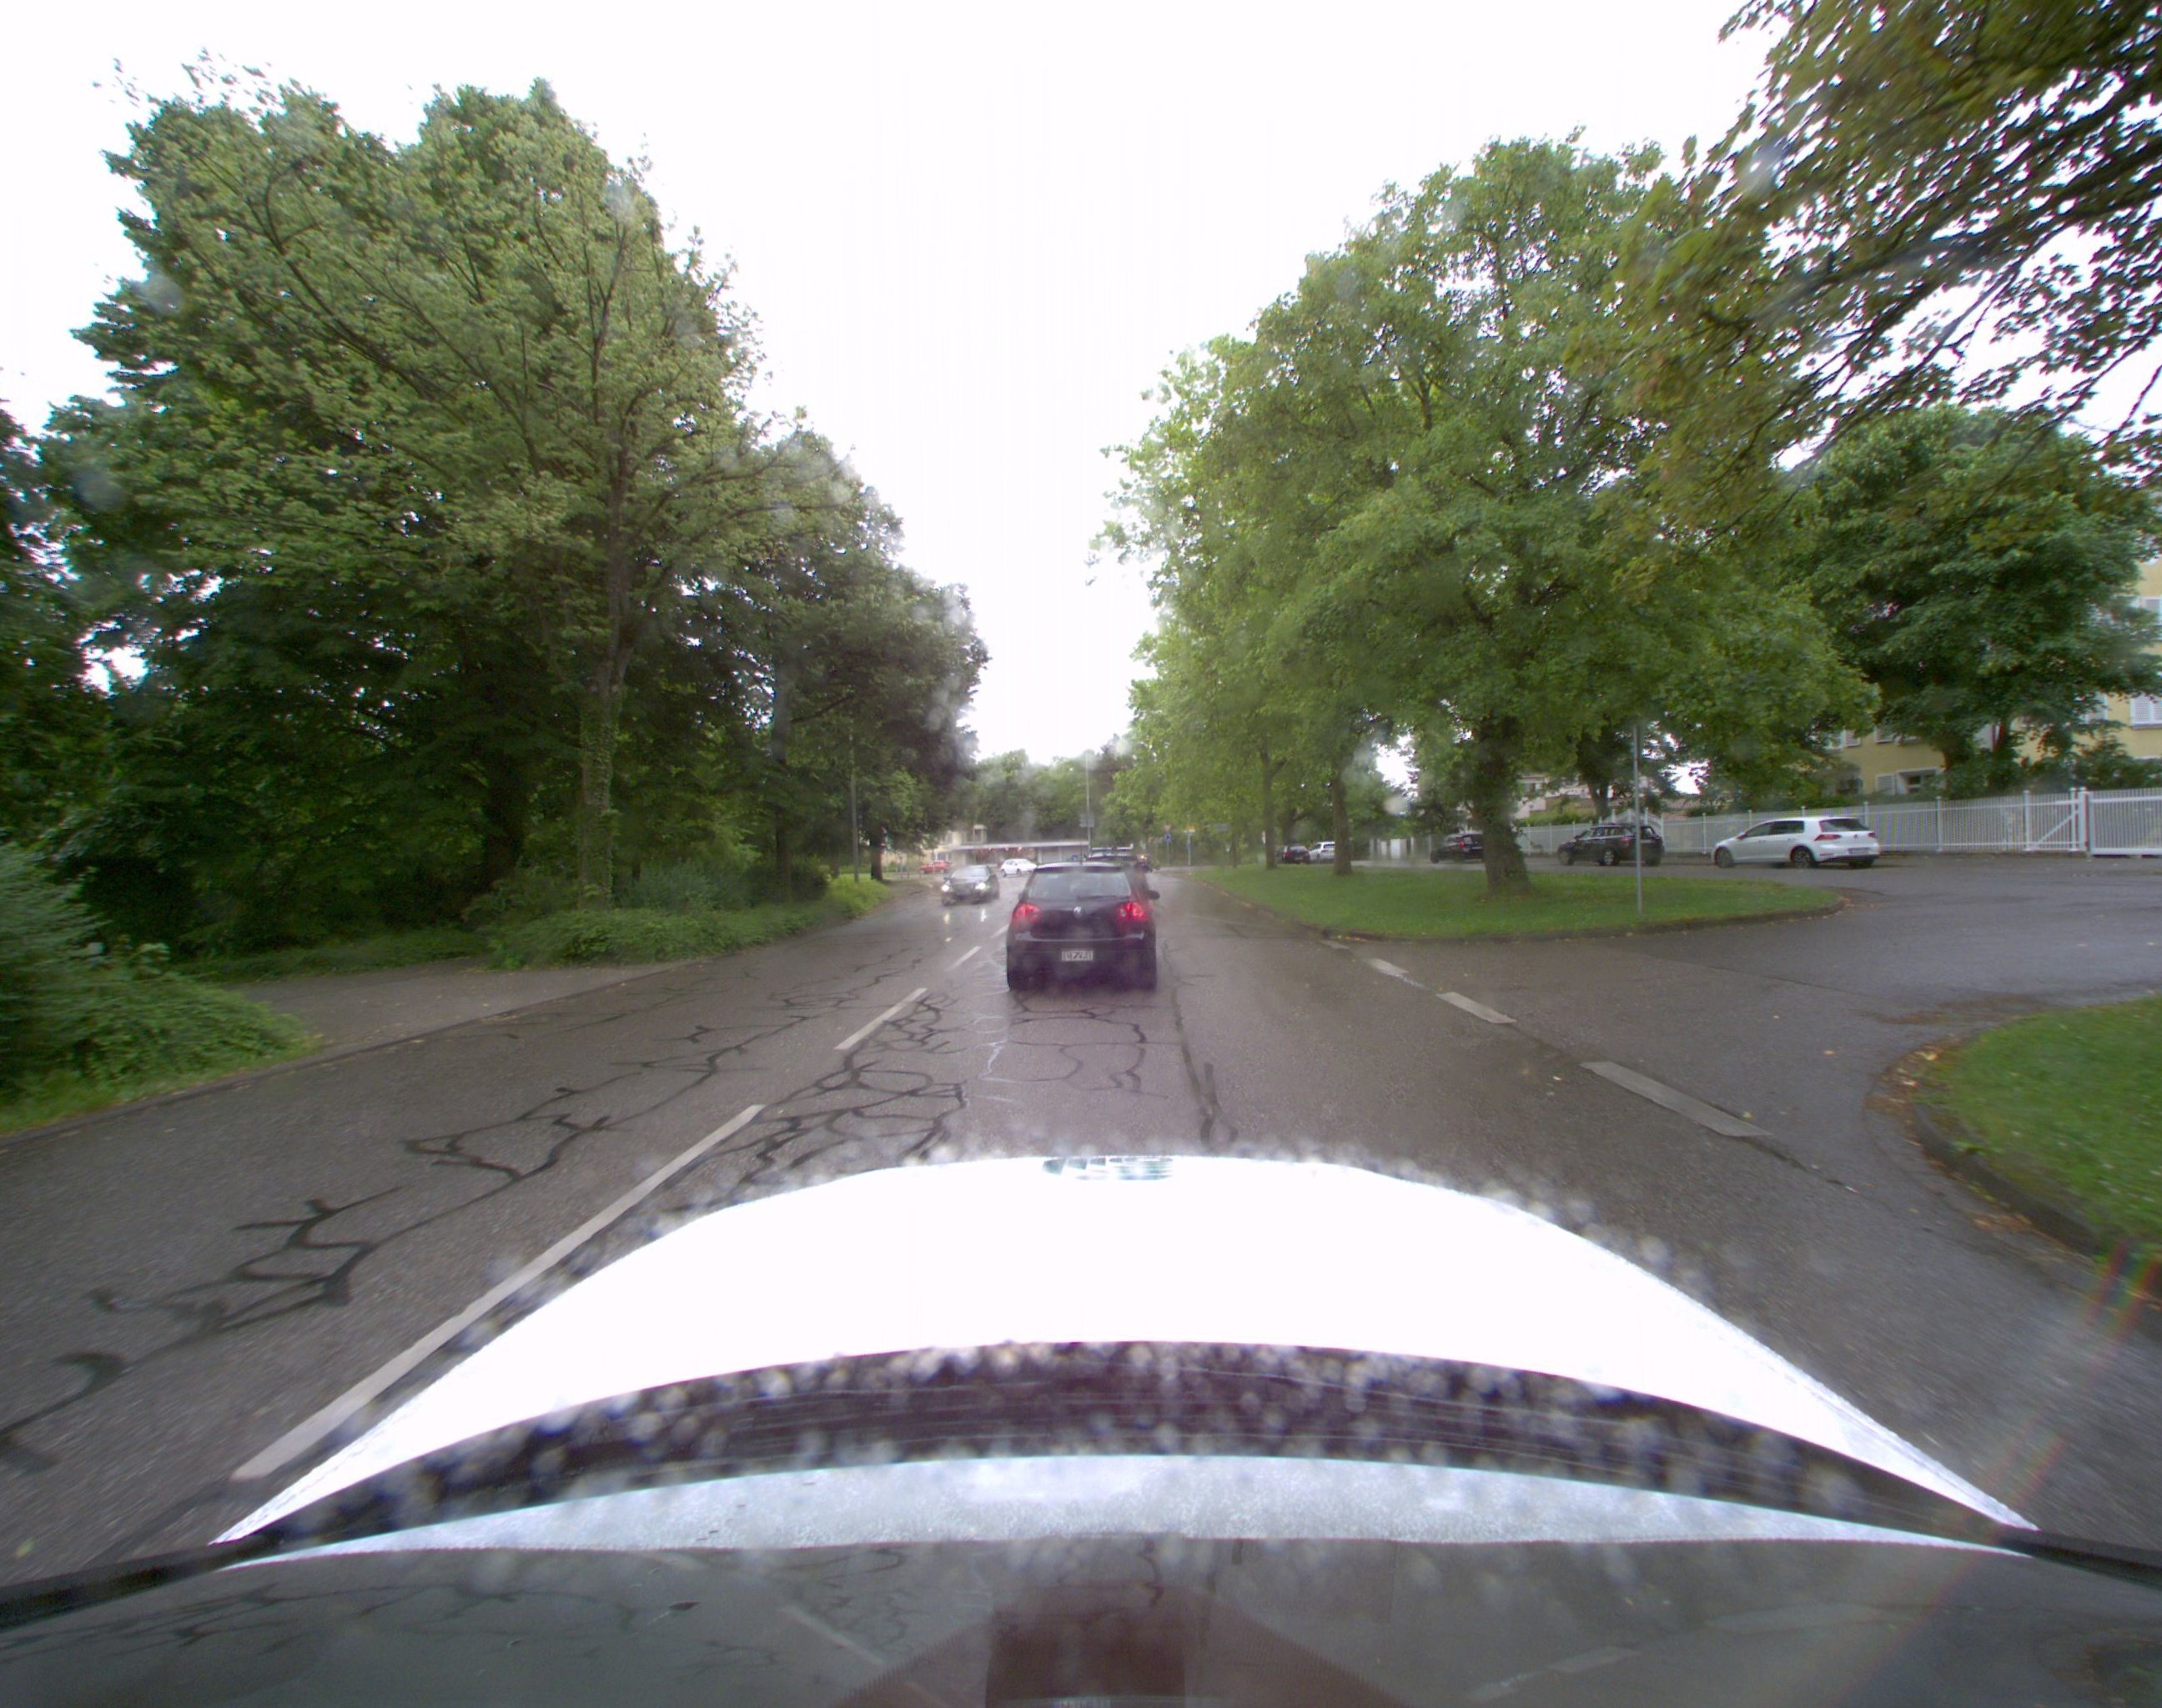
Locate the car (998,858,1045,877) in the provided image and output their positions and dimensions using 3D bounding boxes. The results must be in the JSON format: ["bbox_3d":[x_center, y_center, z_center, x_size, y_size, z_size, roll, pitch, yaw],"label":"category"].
[{"bbox_3d":[-5.065,1.164,68.932,1.855,1.419,4.461,-3,-1,-35],"label":"car"}]

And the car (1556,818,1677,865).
[{"bbox_3d":[20.026,-0.456,30.683,1.796,1.529,4.112,-3,0,0],"label":"car"}]

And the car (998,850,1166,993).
[{"bbox_3d":[0.112,0.729,10.649,1.791,1.515,3.757,-1,0,3],"label":"car"}]

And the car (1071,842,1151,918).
[{"bbox_3d":[0.836,0.649,21.582,1.848,1.785,4.003,-2,-1,3],"label":"car"}]

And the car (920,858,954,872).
[{"bbox_3d":[-17.776,1.372,100.636,3.642,1.513,1.715,-3,-1,6],"label":"car"}]

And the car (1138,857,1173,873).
[{"bbox_3d":[7.052,1.053,76.893,1.521,1.310,3.148,-3,-1,45],"label":"car"}]

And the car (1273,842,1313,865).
[{"bbox_3d":[14.448,-0.039,55.704,1.796,1.385,4.003,-4,0,3],"label":"car"}]

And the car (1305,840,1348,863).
[{"bbox_3d":[16.791,-0.149,55.820,1.796,1.406,4.003,-4,0,3],"label":"car"}]

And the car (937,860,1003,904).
[{"bbox_3d":[-4.054,0.974,30.333,1.791,1.393,3.979,-4,0,1],"label":"car"}]

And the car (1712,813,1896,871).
[{"bbox_3d":[20.358,-0.335,23.190,1.611,1.409,4.009,-3,0,-1],"label":"car"}]

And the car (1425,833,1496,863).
[{"bbox_3d":[20.006,-0.310,43.112,1.796,1.411,4.112,-3,0,0],"label":"car"}]
